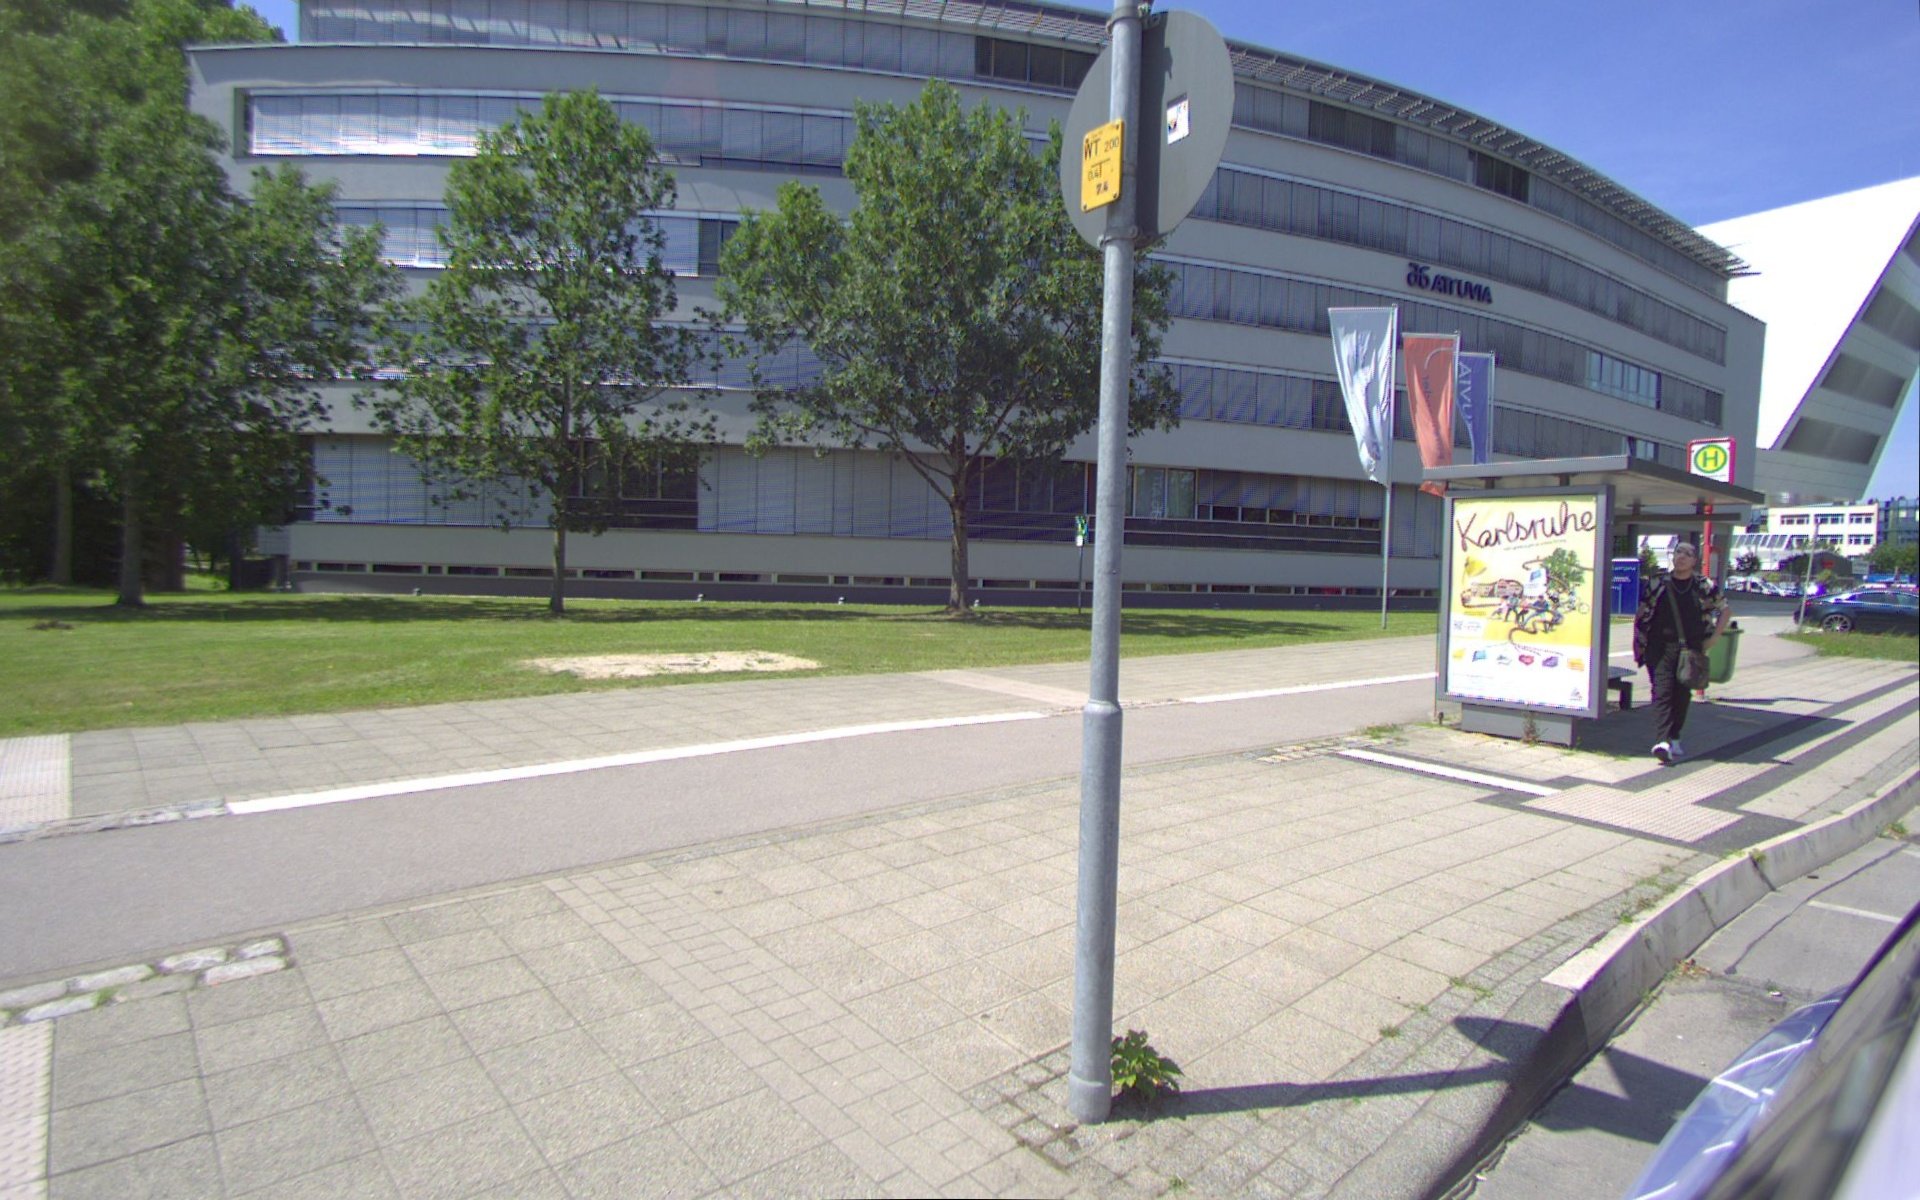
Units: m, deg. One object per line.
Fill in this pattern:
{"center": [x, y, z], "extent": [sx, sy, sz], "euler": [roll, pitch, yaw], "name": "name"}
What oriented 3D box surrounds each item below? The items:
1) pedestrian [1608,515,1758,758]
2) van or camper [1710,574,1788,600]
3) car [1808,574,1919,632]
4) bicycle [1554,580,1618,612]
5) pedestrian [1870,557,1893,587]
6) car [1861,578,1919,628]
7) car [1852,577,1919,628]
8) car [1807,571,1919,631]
{"center": [5.872, 0.259, 8.222], "extent": [0.812, 1.844, 0.710], "euler": [0, 4, -41], "name": "pedestrian"}
{"center": [76.137, -1.313, 97.739], "extent": [1.671, 2.420, 5.708], "euler": [0, 1, -34], "name": "van or camper"}
{"center": [26.901, 0.139, 28.332], "extent": [1.796, 1.449, 4.577], "euler": [-1, 5, -42], "name": "car"}
{"center": [22.358, -0.160, 36.154], "extent": [0.524, 1.073, 1.883], "euler": [0, 1, -36], "name": "bicycle"}
{"center": [52.348, -1.605, 57.488], "extent": [0.762, 1.680, 0.843], "euler": [0, 1, -42], "name": "pedestrian"}
{"center": [30.642, 0.149, 31.339], "extent": [1.626, 1.504, 3.818], "euler": [0, 4, -39], "name": "car"}
{"center": [32.257, 0.147, 33.110], "extent": [1.754, 1.582, 4.332], "euler": [0, 4, -40], "name": "car"}
{"center": [28.398, 0.020, 30.573], "extent": [1.806, 1.675, 3.998], "euler": [0, 3, -39], "name": "car"}
